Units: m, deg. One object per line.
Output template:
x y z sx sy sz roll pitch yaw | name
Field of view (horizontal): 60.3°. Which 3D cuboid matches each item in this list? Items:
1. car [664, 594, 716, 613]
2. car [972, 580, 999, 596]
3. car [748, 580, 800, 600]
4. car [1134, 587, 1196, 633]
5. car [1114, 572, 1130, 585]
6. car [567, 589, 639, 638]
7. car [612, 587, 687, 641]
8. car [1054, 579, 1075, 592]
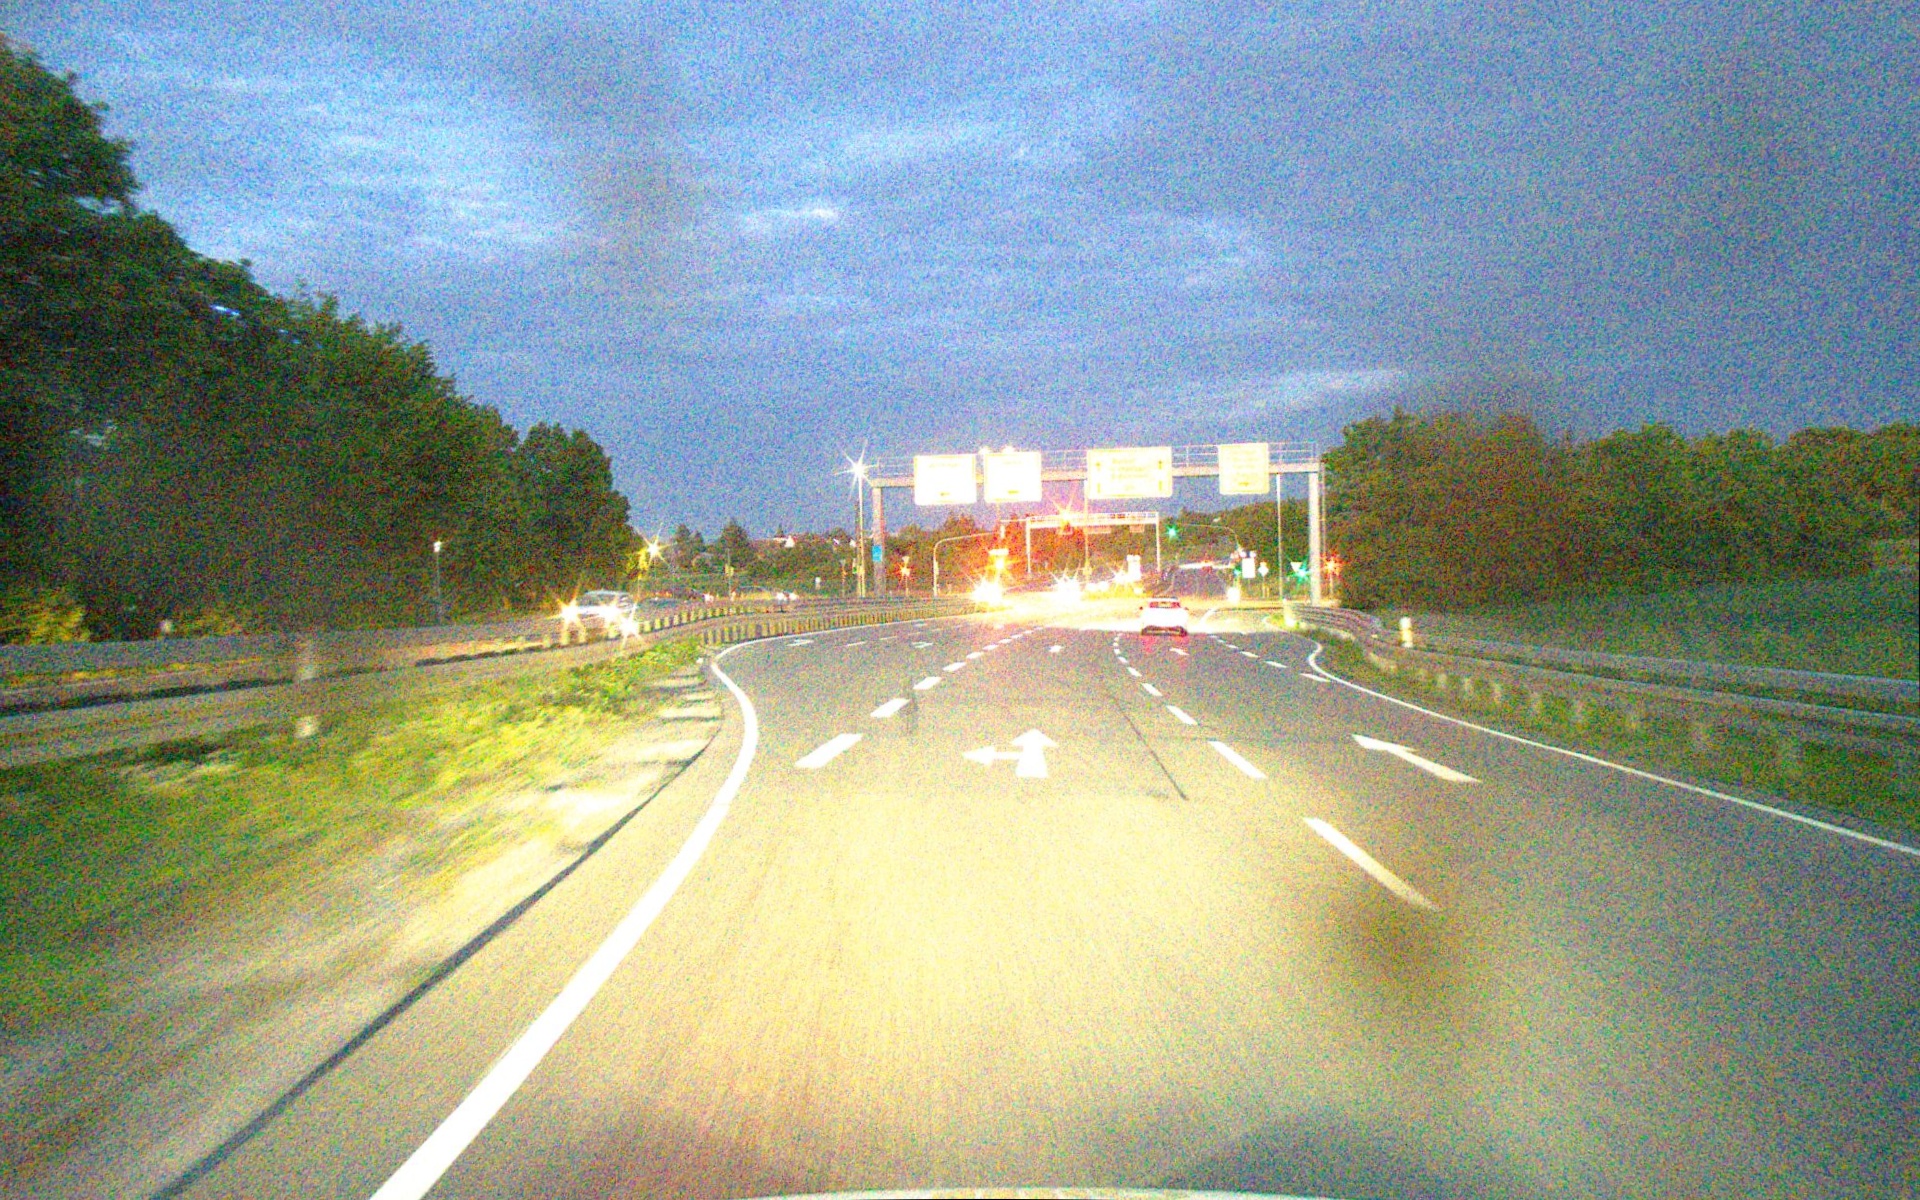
-22.033 0.273 135.032 3.903 1.499 1.730 -1 0 4 | car
2.517 -1.205 162.819 1.951 1.450 4.536 0 1 9 | car
-15.431 -0.843 137.195 3.954 1.564 1.731 -1 0 8 | car
7.932 0.389 63.640 1.965 1.639 3.848 2 0 13 | car
22.339 -2.969 228.153 1.951 1.727 4.004 0 1 9 | car
-12.607 0.457 58.605 1.666 1.651 4.306 0 1 -1 | car
-9.549 0.398 51.048 1.658 1.560 3.999 0 1 -2 | car
12.286 -1.682 194.592 1.951 1.507 4.686 0 1 9 | car
